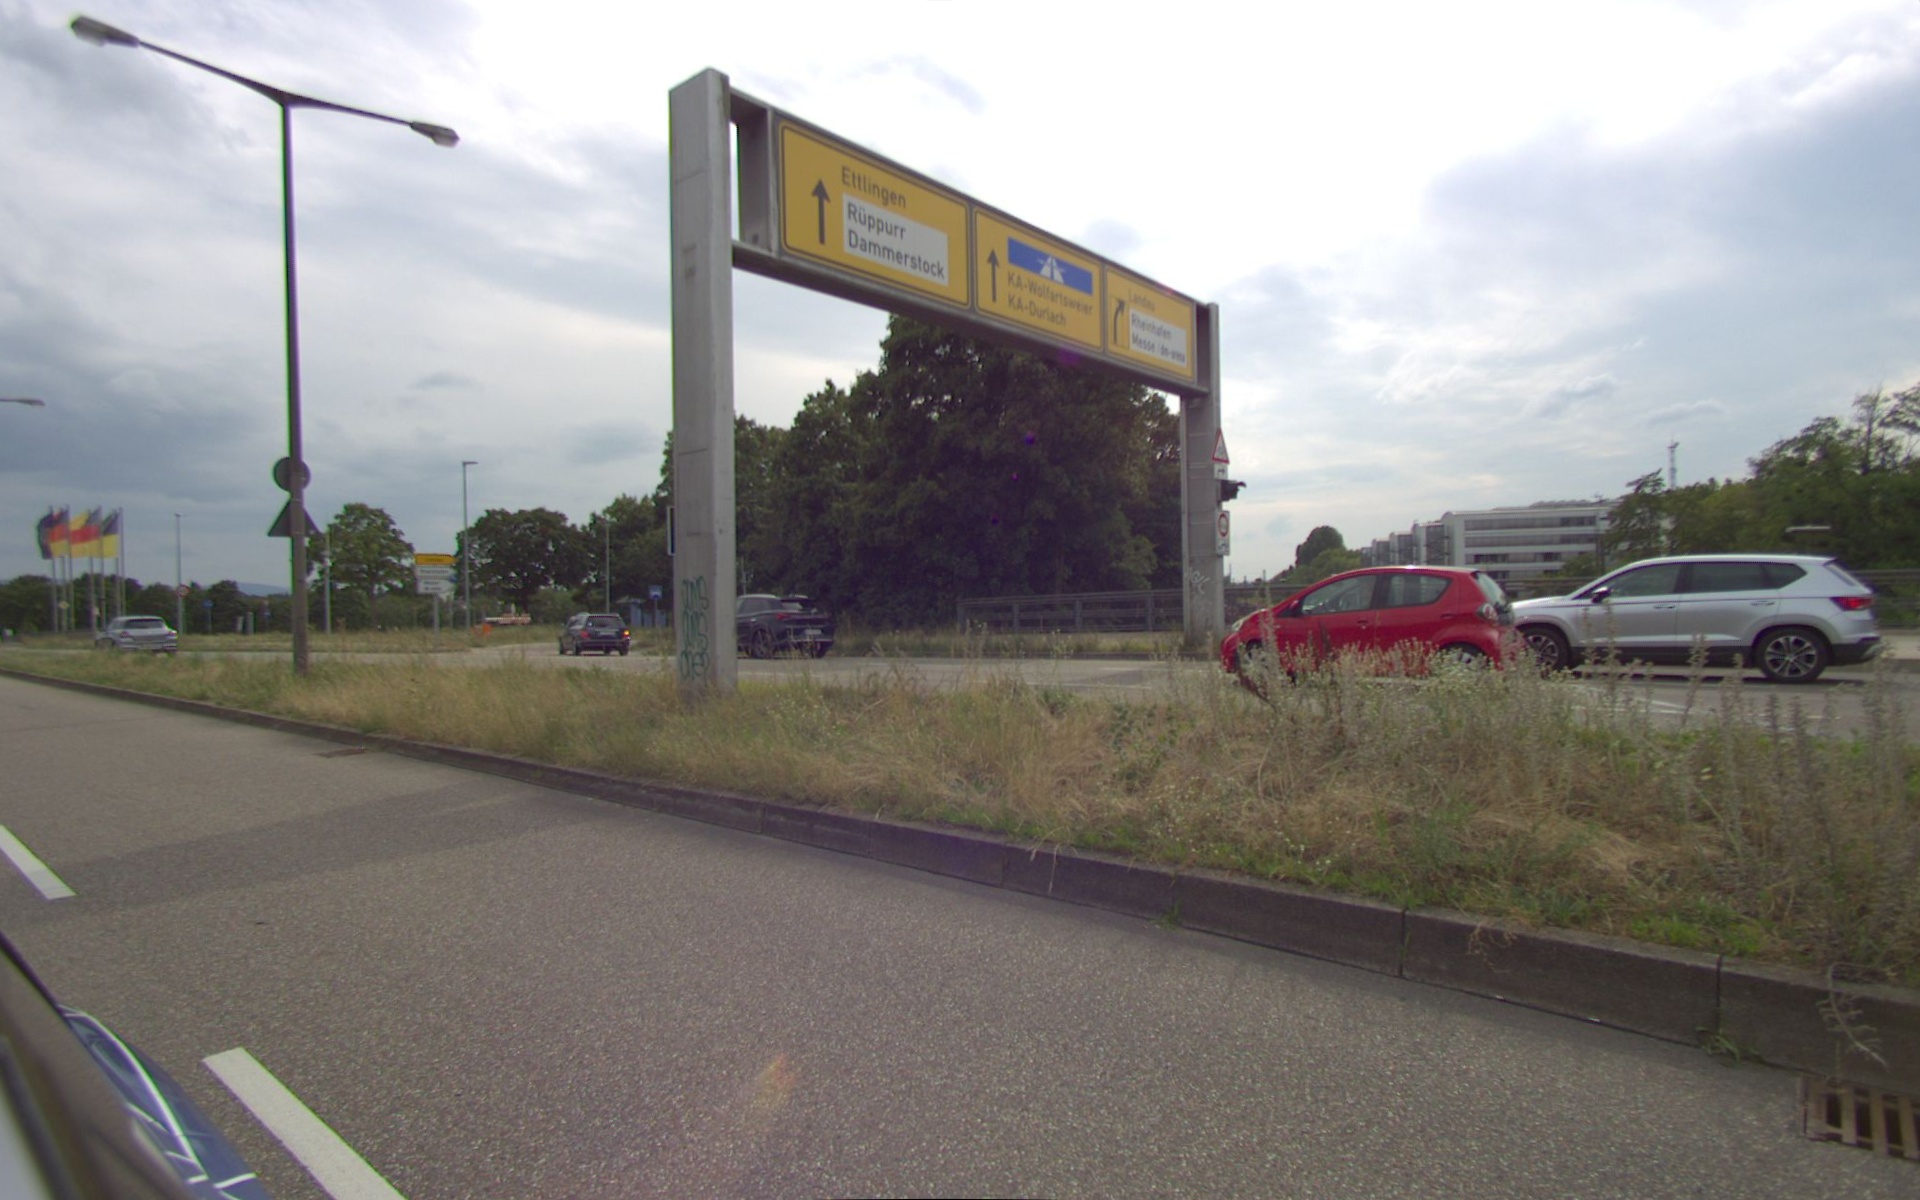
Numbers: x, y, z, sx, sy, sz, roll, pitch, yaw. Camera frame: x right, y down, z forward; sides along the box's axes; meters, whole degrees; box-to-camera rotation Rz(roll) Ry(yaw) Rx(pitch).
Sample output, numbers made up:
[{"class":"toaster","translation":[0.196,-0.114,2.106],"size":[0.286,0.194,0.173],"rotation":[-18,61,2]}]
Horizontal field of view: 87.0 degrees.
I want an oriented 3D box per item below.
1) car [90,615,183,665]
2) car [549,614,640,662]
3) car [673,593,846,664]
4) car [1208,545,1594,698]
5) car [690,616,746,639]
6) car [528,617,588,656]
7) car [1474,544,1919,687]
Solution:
[{"class":"car","translation":[-29.050,1.421,35.655],"size":[3.872,1.619,1.754],"rotation":[-3,-1,39]},{"class":"car","translation":[-12.717,1.366,35.036],"size":[1.861,1.539,4.679],"rotation":[3,-4,-34]},{"class":"car","translation":[-5.244,0.769,26.073],"size":[4.758,1.619,1.867],"rotation":[-4,-1,42]},{"class":"car","translation":[5.159,0.213,12.109],"size":[3.915,1.543,1.705],"rotation":[-1,1,41]},{"class":"car","translation":[-16.164,1.831,67.794],"size":[1.982,1.293,3.980],"rotation":[-2,1,16]},{"class":"car","translation":[-17.777,1.612,44.690],"size":[1.793,1.619,3.908],"rotation":[3,-3,-31]},{"class":"car","translation":[9.299,0.169,13.054],"size":[4.450,1.543,1.868],"rotation":[-1,1,41]}]
